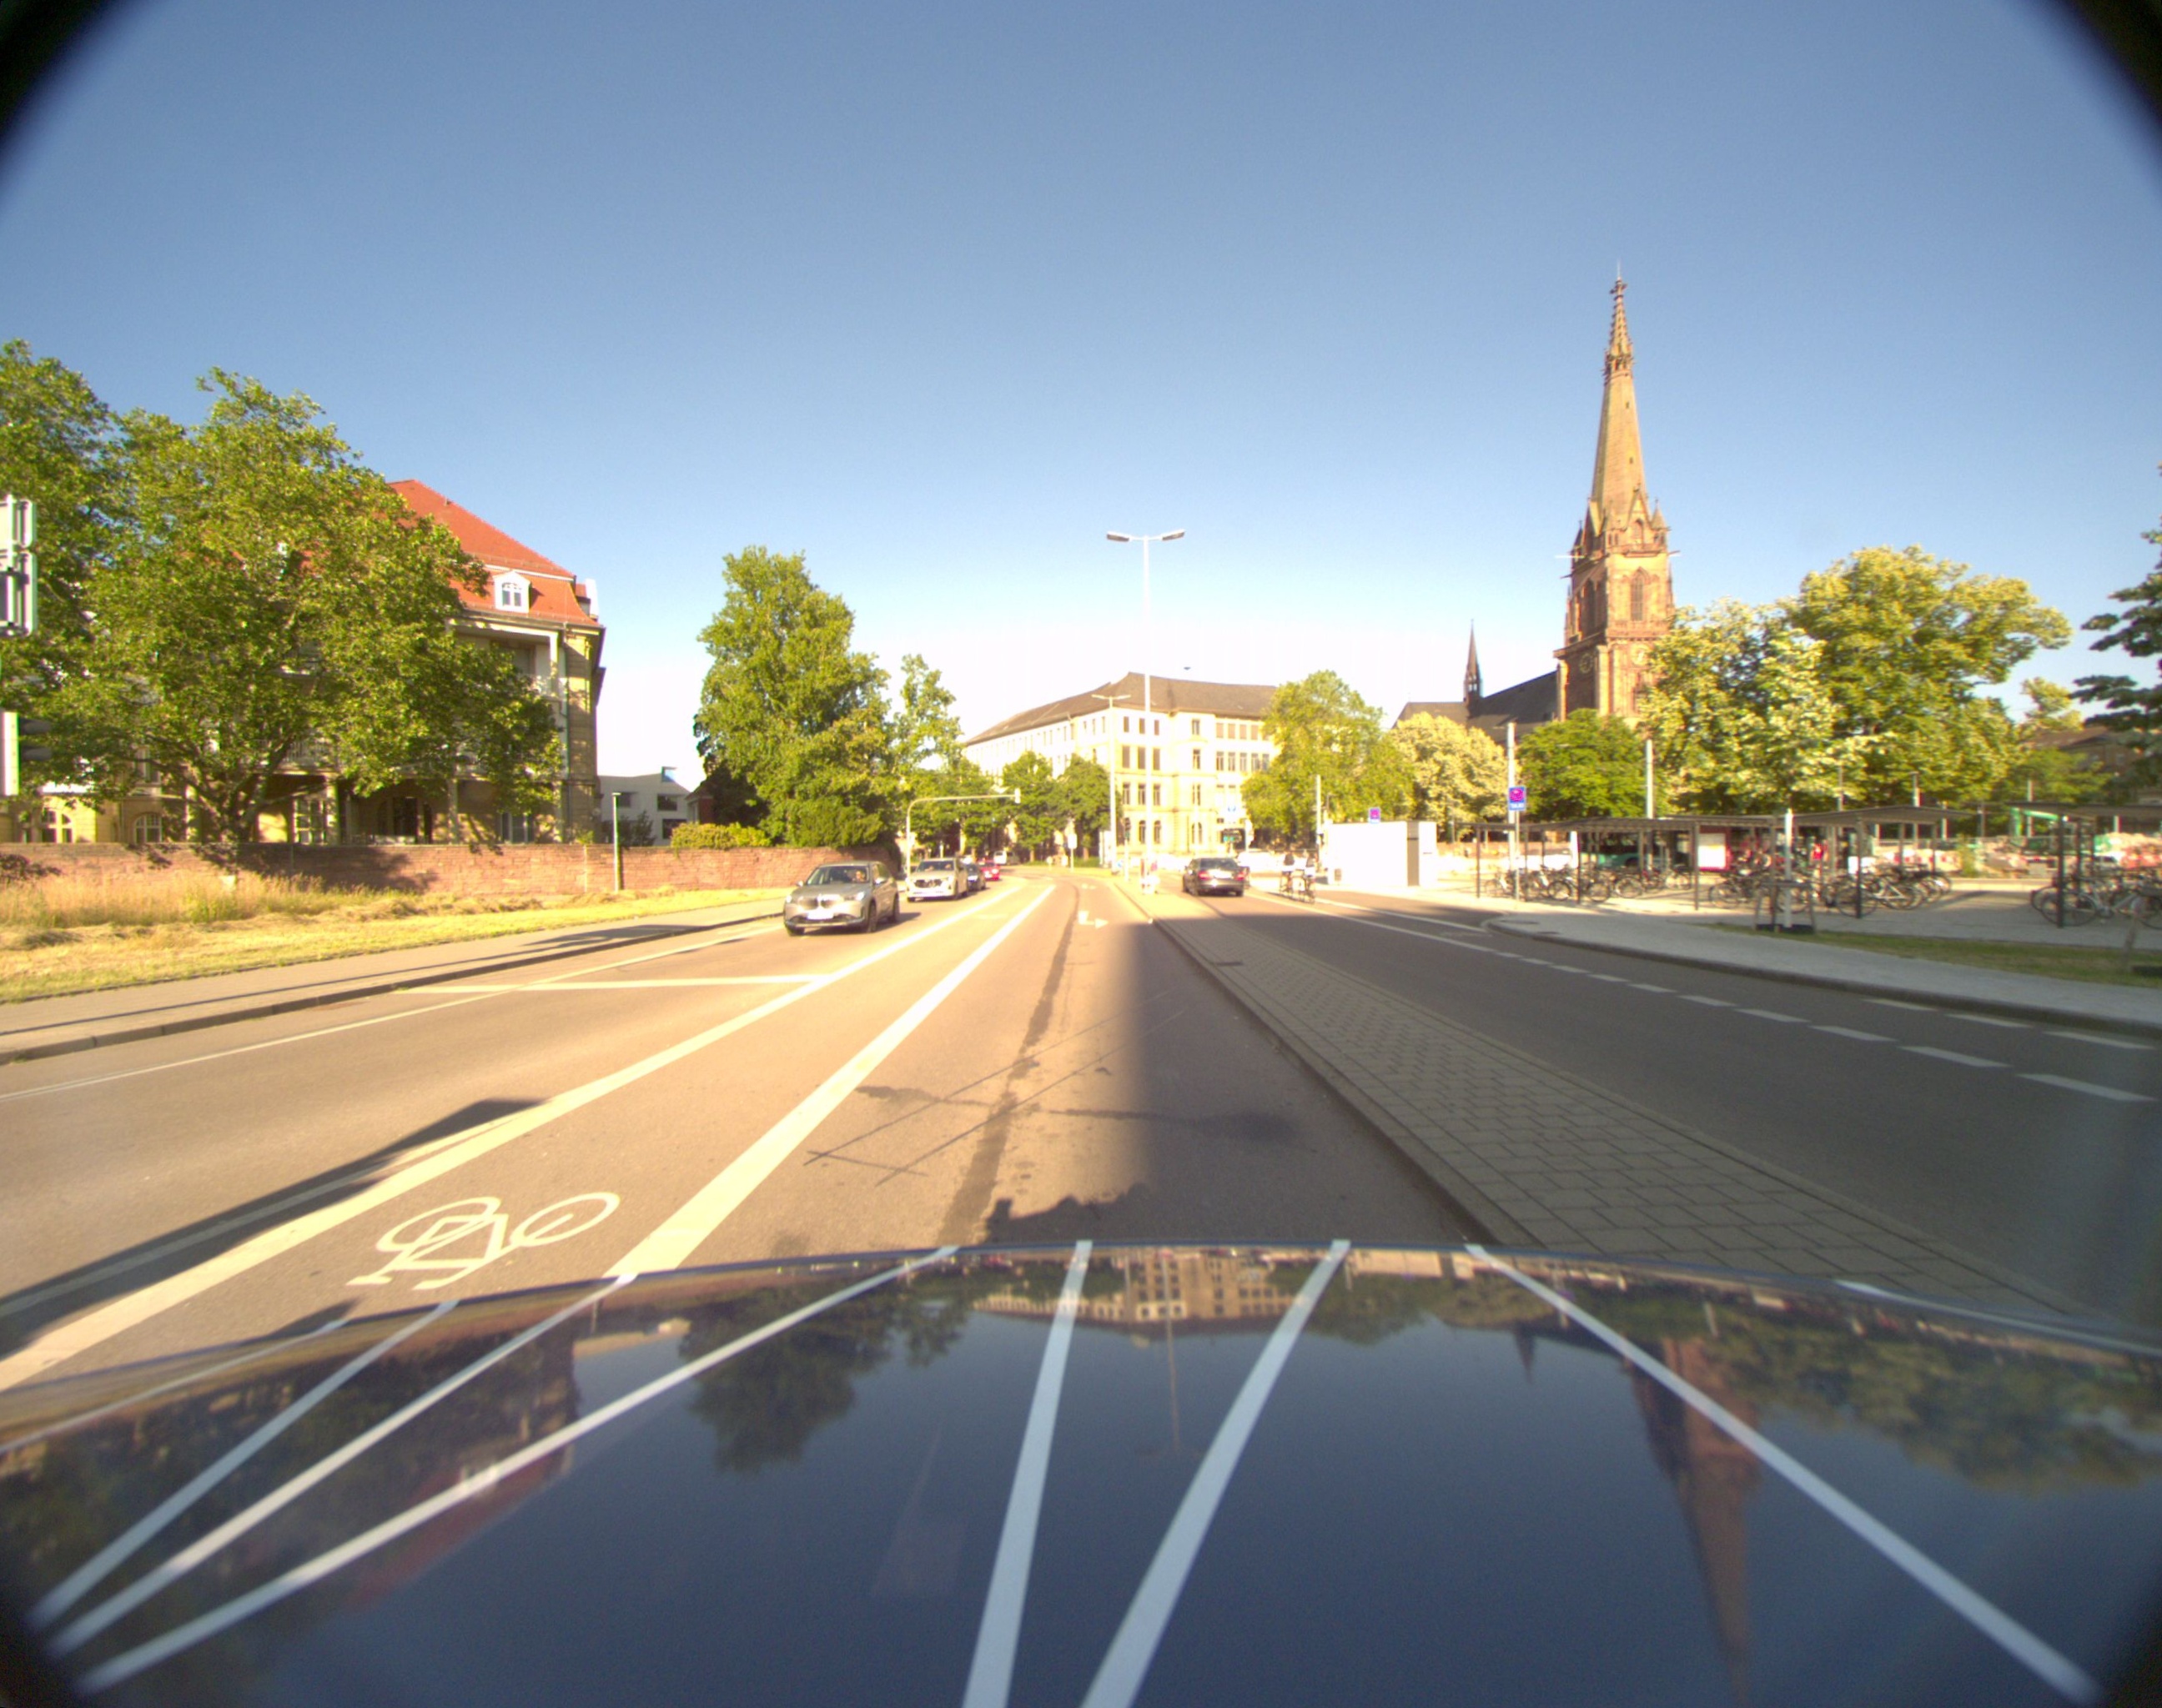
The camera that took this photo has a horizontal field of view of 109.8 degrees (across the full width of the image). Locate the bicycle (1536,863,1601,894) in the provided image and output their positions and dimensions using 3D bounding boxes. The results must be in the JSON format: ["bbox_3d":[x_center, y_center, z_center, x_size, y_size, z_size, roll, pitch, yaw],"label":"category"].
[{"bbox_3d":[17.919,0.871,27.965,0.512,1.049,1.968,-4,3,-42],"label":"bicycle"}]

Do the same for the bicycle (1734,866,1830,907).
[{"bbox_3d":[20.243,0.913,21.974,0.768,1.038,1.926,-4,3,-37],"label":"bicycle"}]

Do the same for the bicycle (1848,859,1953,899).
[{"bbox_3d":[24.360,0.719,22.631,0.567,1.083,2.066,-4,3,-36],"label":"bicycle"}]

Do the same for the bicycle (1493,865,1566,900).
[{"bbox_3d":[14.980,0.921,25.419,0.684,1.049,2.017,-3,3,-34],"label":"bicycle"}]

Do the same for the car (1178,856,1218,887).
[{"bbox_3d":[5.563,0.807,36.409,1.383,1.330,3.503,-1,1,1],"label":"car"}]

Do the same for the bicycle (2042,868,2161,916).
[{"bbox_3d":[24.539,0.886,18.158,0.524,1.038,1.926,-4,3,-36],"label":"bicycle"}]

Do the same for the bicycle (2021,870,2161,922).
[{"bbox_3d":[22.431,0.908,16.936,0.524,1.038,1.843,-4,3,-40],"label":"bicycle"}]

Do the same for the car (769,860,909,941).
[{"bbox_3d":[-5.612,1.009,18.303,2.155,1.611,4.361,0,1,-3],"label":"car"}]

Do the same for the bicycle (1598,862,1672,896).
[{"bbox_3d":[19.074,0.839,26.190,0.568,1.049,1.968,-4,3,-37],"label":"bicycle"}]

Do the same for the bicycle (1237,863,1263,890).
[{"bbox_3d":[7.394,0.978,33.412,0.881,1.091,2.189,0,1,6],"label":"bicycle"}]

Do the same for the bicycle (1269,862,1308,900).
[{"bbox_3d":[7.325,0.914,26.898,0.764,1.180,2.605,-2,1,3],"label":"bicycle"}]

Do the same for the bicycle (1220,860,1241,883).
[{"bbox_3d":[7.685,0.882,39.238,0.881,1.091,2.189,0,1,6],"label":"bicycle"}]

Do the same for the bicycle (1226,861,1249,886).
[{"bbox_3d":[7.540,0.923,36.598,0.881,1.091,2.189,0,1,6],"label":"bicycle"}]

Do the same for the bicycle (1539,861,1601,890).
[{"bbox_3d":[18.934,0.804,29.485,0.498,1.049,1.968,-4,3,-38],"label":"bicycle"}]

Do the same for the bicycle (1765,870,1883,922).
[{"bbox_3d":[18.010,0.991,18.459,0.568,1.099,1.968,-4,3,-35],"label":"bicycle"}]

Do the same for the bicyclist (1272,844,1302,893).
[{"bbox_3d":[7.307,0.496,26.933,0.764,1.659,1.062,-2,1,3],"label":"bicyclist"}]

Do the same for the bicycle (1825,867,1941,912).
[{"bbox_3d":[21.273,0.921,20.198,0.605,1.038,2.029,-3,3,-31],"label":"bicycle"}]

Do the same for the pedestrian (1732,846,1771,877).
[{"bbox_3d":[30.928,0.353,35.050,1.055,1.342,1.076,-3,1,-32],"label":"pedestrian"}]

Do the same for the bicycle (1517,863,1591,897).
[{"bbox_3d":[16.882,0.907,27.165,0.839,1.049,2.113,-4,3,-37],"label":"bicycle"}]

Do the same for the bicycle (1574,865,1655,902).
[{"bbox_3d":[17.022,0.918,24.300,0.759,1.049,1.968,-3,3,-35],"label":"bicycle"}]

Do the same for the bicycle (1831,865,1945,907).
[{"bbox_3d":[22.433,0.854,21.171,0.605,1.038,2.102,-4,3,-37],"label":"bicycle"}]

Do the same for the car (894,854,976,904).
[{"bbox_3d":[-5.718,0.919,30.395,2.193,1.674,4.606,-3,1,2],"label":"car"}]

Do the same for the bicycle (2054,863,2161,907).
[{"bbox_3d":[26.462,0.782,19.423,0.524,1.038,1.926,-4,3,-36],"label":"bicycle"}]

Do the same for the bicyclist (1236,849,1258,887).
[{"bbox_3d":[7.291,0.605,33.455,0.865,1.644,0.944,0,1,6],"label":"bicyclist"}]

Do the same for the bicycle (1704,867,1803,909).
[{"bbox_3d":[18.889,0.935,21.378,0.867,1.038,1.926,-4,3,-37],"label":"bicycle"}]

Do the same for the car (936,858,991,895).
[{"bbox_3d":[-5.794,1.068,38.066,2.194,1.577,4.604,-3,1,-3],"label":"car"}]

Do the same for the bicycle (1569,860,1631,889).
[{"bbox_3d":[19.869,0.768,29.133,0.418,1.049,1.968,-3,3,-34],"label":"bicycle"}]

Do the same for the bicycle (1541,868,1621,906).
[{"bbox_3d":[15.213,0.975,23.155,0.568,1.049,1.968,-4,3,-37],"label":"bicycle"}]

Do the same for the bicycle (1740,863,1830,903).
[{"bbox_3d":[21.209,0.853,22.926,0.537,1.083,1.926,-4,3,-36],"label":"bicycle"}]

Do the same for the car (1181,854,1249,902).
[{"bbox_3d":[4.818,0.823,27.827,1.805,1.436,3.976,-1,2,1],"label":"car"}]

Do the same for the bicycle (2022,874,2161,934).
[{"bbox_3d":[20.389,0.970,15.098,0.746,1.099,2.119,-4,1,-39],"label":"bicycle"}]

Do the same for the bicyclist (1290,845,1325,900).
[{"bbox_3d":[7.048,0.553,23.730,0.764,1.659,1.062,-2,1,3],"label":"bicyclist"}]

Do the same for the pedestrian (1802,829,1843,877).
[{"bbox_3d":[32.392,-0.045,33.211,1.136,2.002,1.027,-3,2,-32],"label":"pedestrian"}]

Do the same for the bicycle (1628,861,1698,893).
[{"bbox_3d":[20.900,0.817,27.328,0.418,1.049,1.968,-3,3,-34],"label":"bicycle"}]

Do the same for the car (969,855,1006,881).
[{"bbox_3d":[-6.487,0.952,53.247,2.194,1.577,4.604,-3,1,-3],"label":"car"}]

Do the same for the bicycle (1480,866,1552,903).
[{"bbox_3d":[13.874,0.963,24.292,0.568,1.049,1.968,-3,3,-29],"label":"bicycle"}]

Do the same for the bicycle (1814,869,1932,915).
[{"bbox_3d":[20.346,0.939,19.569,0.605,1.038,2.028,-3,3,-34],"label":"bicycle"}]

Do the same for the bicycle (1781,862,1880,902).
[{"bbox_3d":[22.635,0.823,22.988,0.567,1.083,2.066,-4,3,-36],"label":"bicycle"}]

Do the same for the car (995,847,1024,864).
[{"bbox_3d":[-9.707,0.211,103.671,1.995,2.003,4.156,0,5,25],"label":"car"}]

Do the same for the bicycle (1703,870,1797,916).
[{"bbox_3d":[17.472,0.996,19.891,0.486,1.099,1.796,-4,3,-41],"label":"bicycle"}]

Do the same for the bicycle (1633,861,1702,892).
[{"bbox_3d":[21.251,0.798,27.572,0.418,1.049,1.968,-3,3,-34],"label":"bicycle"}]

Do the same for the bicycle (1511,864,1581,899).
[{"bbox_3d":[15.831,0.917,25.903,0.684,1.049,1.931,-3,3,-34],"label":"bicycle"}]

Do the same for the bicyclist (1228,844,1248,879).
[{"bbox_3d":[7.521,0.336,36.481,0.865,1.644,0.944,-1,1,6],"label":"bicyclist"}]

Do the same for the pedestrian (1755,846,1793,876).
[{"bbox_3d":[32.431,0.314,35.567,1.055,1.342,1.076,-3,1,-32],"label":"pedestrian"}]

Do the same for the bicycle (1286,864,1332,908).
[{"bbox_3d":[7.074,0.970,23.727,0.764,1.180,2.605,-2,1,3],"label":"bicycle"}]

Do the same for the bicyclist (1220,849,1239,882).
[{"bbox_3d":[7.673,0.595,39.226,0.865,1.644,0.944,0,1,6],"label":"bicyclist"}]
